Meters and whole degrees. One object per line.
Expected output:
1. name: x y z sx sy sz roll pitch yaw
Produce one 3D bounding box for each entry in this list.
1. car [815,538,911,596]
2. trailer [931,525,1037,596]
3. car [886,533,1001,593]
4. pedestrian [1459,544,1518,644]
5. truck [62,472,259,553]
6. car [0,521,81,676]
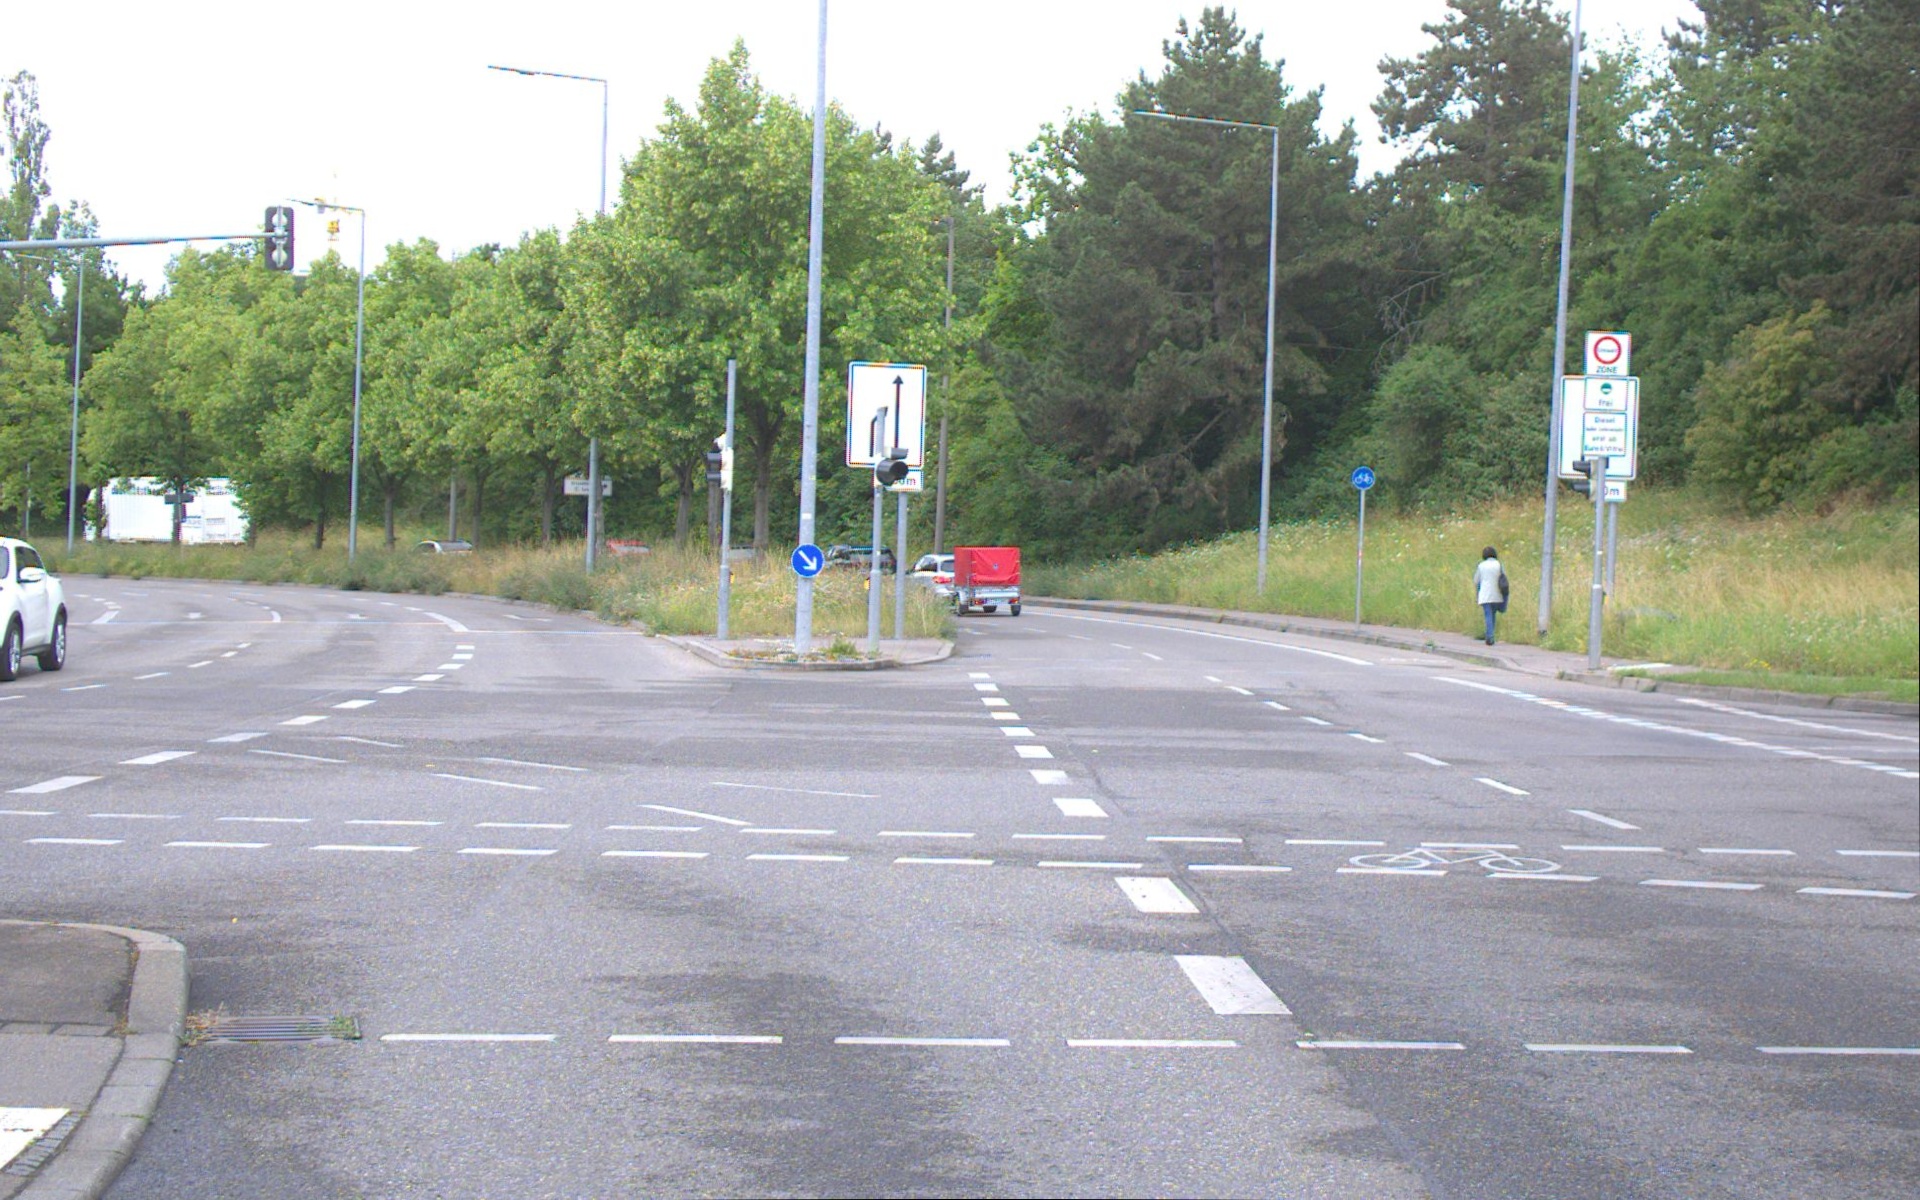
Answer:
1. car: -2.710 -0.927 95.215 1.777 1.541 4.026 0 1 -15
2. trailer: 0.542 -0.953 81.867 1.764 1.610 3.045 0 1 -15
3. car: -0.440 -0.932 85.482 1.777 1.416 4.460 0 1 -15
4. pedestrian: 8.730 -0.106 56.816 0.814 1.622 0.791 1 1 -1
5. truck: -33.903 -3.719 145.420 2.741 3.317 11.401 0 2 -43
6. car: -11.121 -0.057 38.331 1.828 1.623 4.426 0 1 -4
